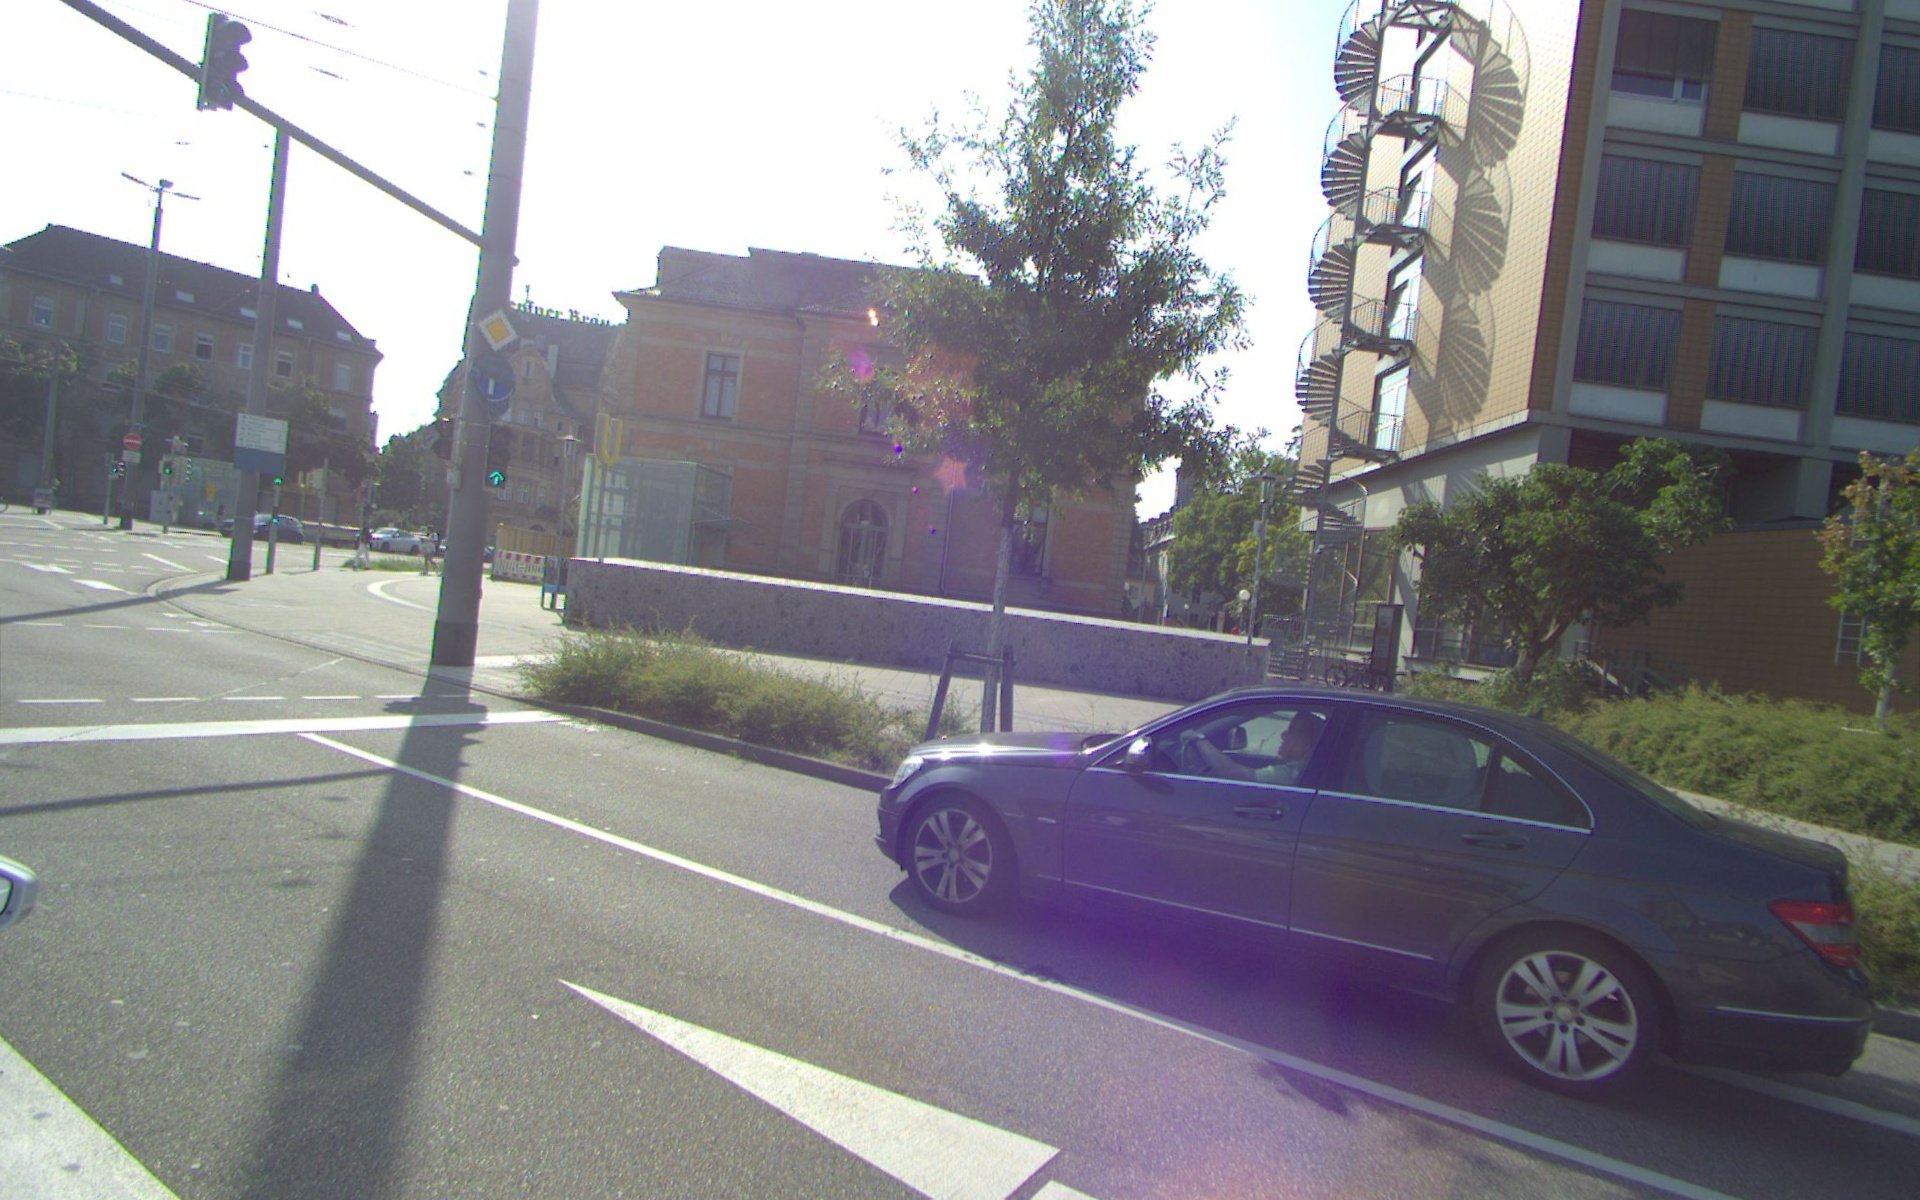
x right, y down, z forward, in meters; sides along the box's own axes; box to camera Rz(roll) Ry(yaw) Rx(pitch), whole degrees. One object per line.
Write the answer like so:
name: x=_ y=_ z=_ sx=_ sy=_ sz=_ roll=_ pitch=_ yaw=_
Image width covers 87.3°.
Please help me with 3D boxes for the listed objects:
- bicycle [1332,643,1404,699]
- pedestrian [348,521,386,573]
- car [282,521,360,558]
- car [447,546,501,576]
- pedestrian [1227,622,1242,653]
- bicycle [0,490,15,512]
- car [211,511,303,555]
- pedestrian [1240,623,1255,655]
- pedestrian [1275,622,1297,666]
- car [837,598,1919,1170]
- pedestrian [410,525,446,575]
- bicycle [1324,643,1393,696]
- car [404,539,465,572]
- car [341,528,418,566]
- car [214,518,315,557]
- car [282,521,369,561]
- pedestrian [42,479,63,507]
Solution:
bicycle: x=12.573 y=2.181 z=31.029 sx=1.803 sy=1.451 sz=0.608 roll=7 pitch=1 yaw=2
pedestrian: x=-20.795 y=-1.849 z=35.282 sx=0.910 sy=1.711 sz=0.833 roll=6 pitch=1 yaw=-24
car: x=-42.661 y=-4.038 z=67.289 sx=1.895 sy=1.881 sz=4.276 roll=7 pitch=0 yaw=10
car: x=-37.406 y=-2.988 z=77.529 sx=1.874 sy=1.881 sz=4.251 roll=7 pitch=0 yaw=2
pedestrian: x=17.304 y=2.336 z=63.426 sx=0.624 sy=1.890 sz=0.674 roll=7 pitch=1 yaw=10
bicycle: x=-45.898 y=-4.757 z=47.040 sx=1.074 sy=0.976 sz=2.623 roll=7 pitch=0 yaw=-8
car: x=-38.733 y=-3.656 z=55.566 sx=1.874 sy=1.881 sz=4.251 roll=7 pitch=0 yaw=2
pedestrian: x=17.741 y=2.424 z=62.093 sx=0.624 sy=1.890 sz=0.674 roll=7 pitch=1 yaw=10
pedestrian: x=14.517 y=1.963 z=44.859 sx=0.624 sy=1.890 sz=0.674 roll=7 pitch=1 yaw=10
car: x=1.681 y=1.012 z=5.162 sx=4.296 sy=1.460 sz=1.686 roll=7 pitch=0 yaw=29
pedestrian: x=-19.525 y=-1.838 z=36.947 sx=0.910 sy=1.711 sz=0.920 roll=7 pitch=1 yaw=-21
bicycle: x=12.654 y=2.200 z=31.960 sx=1.782 sy=1.451 sz=0.608 roll=7 pitch=1 yaw=2
car: x=-37.669 y=-3.165 z=72.200 sx=1.874 sy=1.881 sz=4.251 roll=7 pitch=0 yaw=2
car: x=-37.761 y=-3.410 z=65.608 sx=2.007 sy=1.881 sz=4.665 roll=7 pitch=0 yaw=2
car: x=-35.870 y=-3.200 z=52.034 sx=1.986 sy=1.414 sz=4.388 roll=7 pitch=0 yaw=2
car: x=-38.238 y=-3.513 z=60.741 sx=1.874 sy=1.881 sz=4.711 roll=7 pitch=0 yaw=4
pedestrian: x=-51.446 y=-6.065 z=57.045 sx=0.538 sy=1.489 sz=0.666 roll=6 pitch=1 yaw=-15
